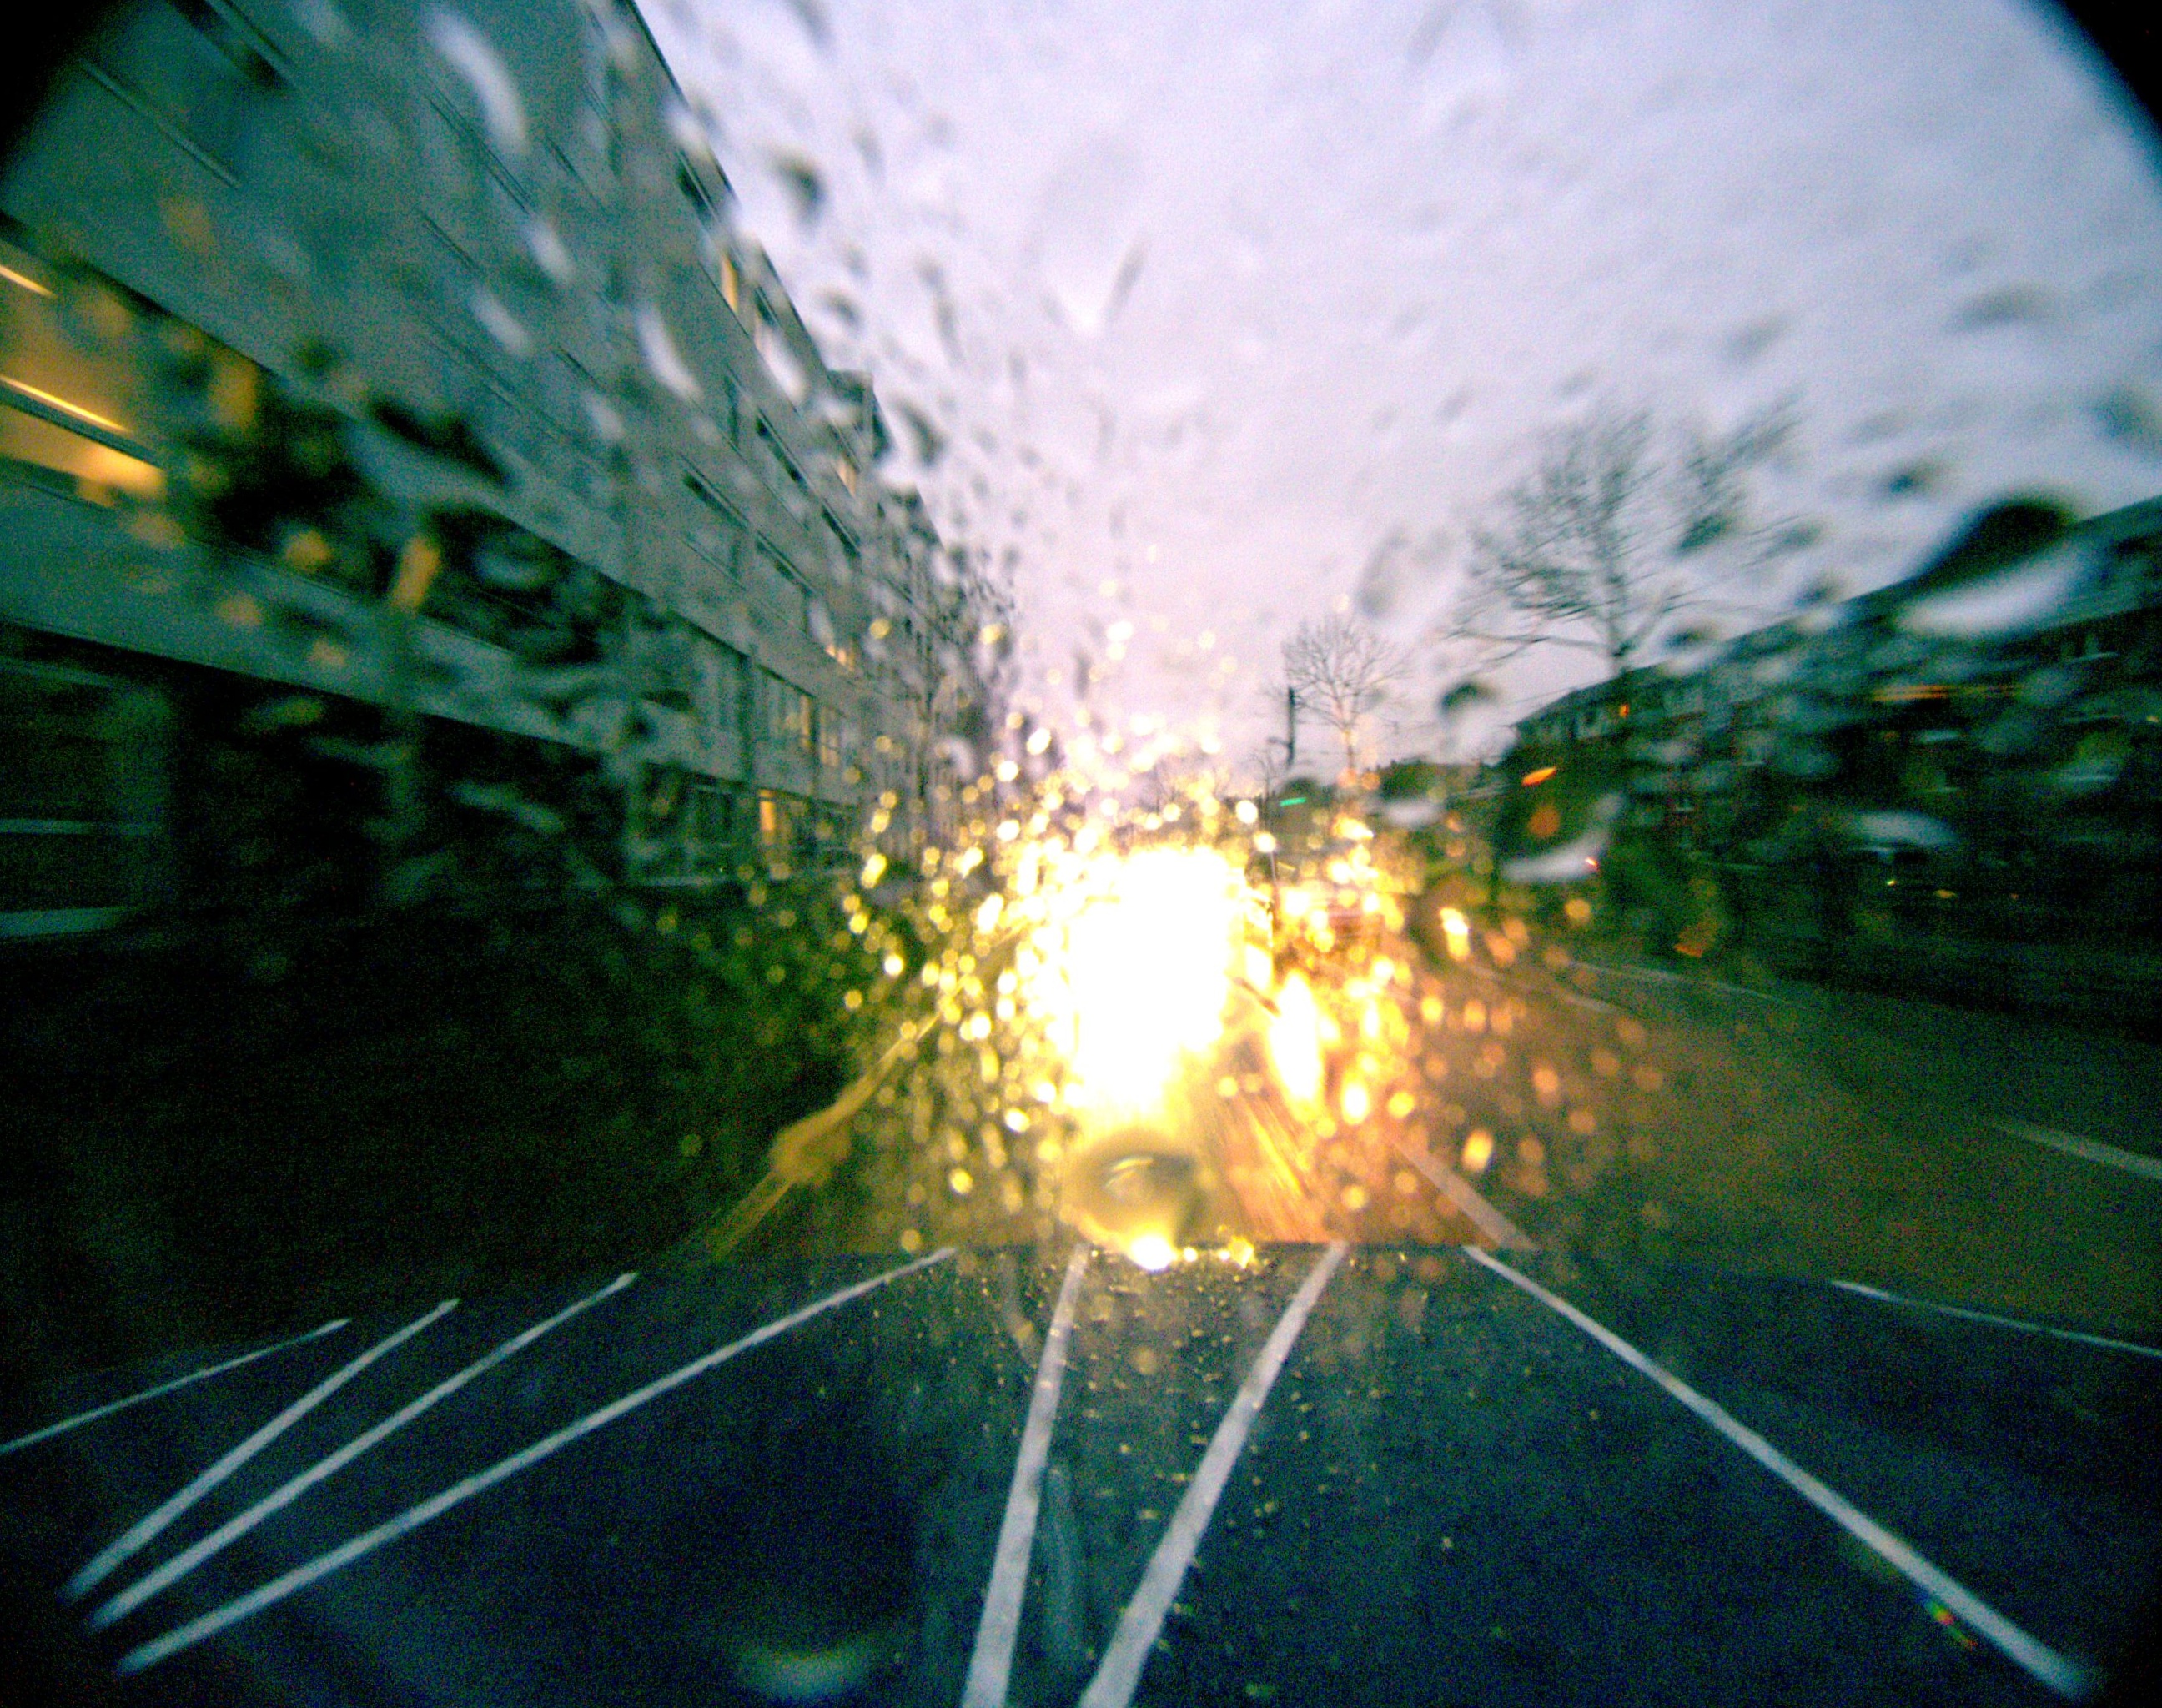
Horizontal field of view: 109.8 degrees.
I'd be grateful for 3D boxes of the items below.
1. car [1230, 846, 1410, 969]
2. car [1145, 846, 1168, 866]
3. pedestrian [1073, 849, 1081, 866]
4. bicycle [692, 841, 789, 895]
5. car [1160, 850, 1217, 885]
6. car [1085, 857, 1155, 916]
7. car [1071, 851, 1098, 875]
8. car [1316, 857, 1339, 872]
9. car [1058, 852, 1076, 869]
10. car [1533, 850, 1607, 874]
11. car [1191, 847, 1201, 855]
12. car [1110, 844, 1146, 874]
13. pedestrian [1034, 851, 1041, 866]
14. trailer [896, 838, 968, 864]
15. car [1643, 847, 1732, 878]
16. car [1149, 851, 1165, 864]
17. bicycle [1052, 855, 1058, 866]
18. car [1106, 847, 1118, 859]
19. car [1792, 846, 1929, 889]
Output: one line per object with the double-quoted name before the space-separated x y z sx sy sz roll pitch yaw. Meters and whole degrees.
"car" 3.785 0.749 12.786 2.020 1.667 4.000 -1 1 5
"car" 6.862 0.166 69.371 1.710 1.647 3.753 -1 1 1
"pedestrian" -0.442 0.404 86.450 0.773 1.798 0.699 4 2 -3
"bicycle" -8.718 0.351 19.599 0.823 1.266 2.461 4 1 16
"car" 4.936 0.578 35.521 1.975 1.492 4.091 -2 0 -1
"car" 1.053 0.828 21.313 1.757 1.418 3.804 -1 1 2
"car" 0.202 0.565 47.448 1.595 1.386 3.486 1 0 0
"car" 32.230 1.353 99.299 1.695 1.749 3.999 -2 1 0
"car" -1.330 0.627 71.474 1.600 1.432 4.227 -2 1 0
"car" 29.295 0.457 45.654 1.783 1.285 4.214 -1 1 2
"car" 24.689 -0.671 163.528 1.526 1.630 3.748 0 1 -1
"car" 2.581 0.242 42.613 1.764 1.520 3.734 -1 1 0
"pedestrian" -5.074 0.476 88.355 0.739 1.726 0.702 -2 2 -3
"trailer" -11.557 -0.213 59.169 5.078 1.900 2.131 0 -1 5
"car" 33.251 0.403 41.810 1.729 1.535 4.151 -1 1 3
"car" 8.753 0.350 87.647 1.539 1.404 3.667 -1 1 0
"bicycle" -2.657 0.637 77.747 0.552 1.109 2.165 1 1 0
"car" 4.376 -0.097 106.746 1.493 1.585 3.999 -1 1 1
"car" 33.360 0.524 32.693 1.729 1.636 4.150 -1 1 3
